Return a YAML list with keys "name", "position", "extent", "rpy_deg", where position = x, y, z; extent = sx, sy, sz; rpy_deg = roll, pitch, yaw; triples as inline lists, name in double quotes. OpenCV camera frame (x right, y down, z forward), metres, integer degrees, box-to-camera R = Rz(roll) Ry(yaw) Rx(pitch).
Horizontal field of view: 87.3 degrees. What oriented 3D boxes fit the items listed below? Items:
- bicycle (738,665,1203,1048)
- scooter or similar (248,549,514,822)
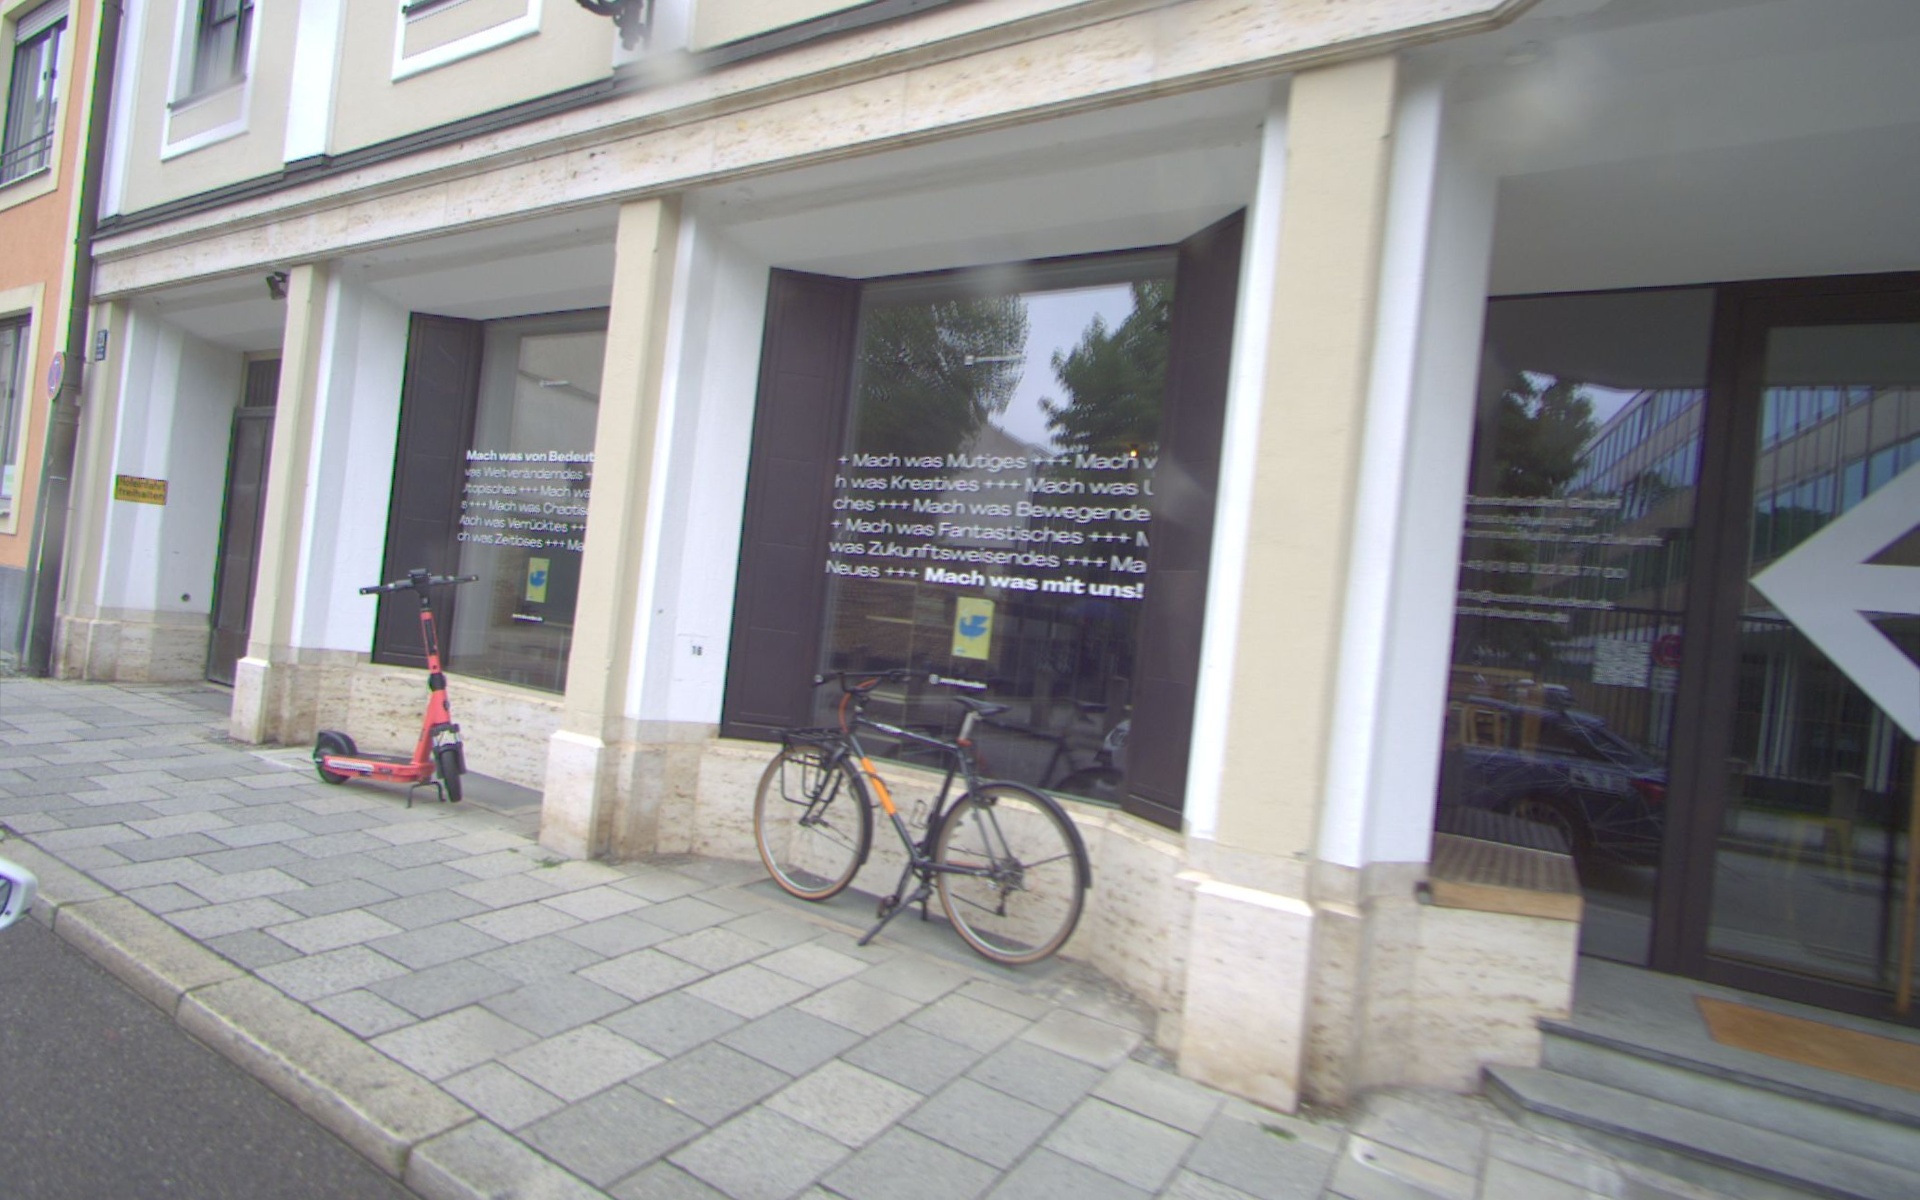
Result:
- name: "bicycle"
  position: [-0.077, 0.917, 4.199]
  extent: [2.050, 1.006, 0.463]
  rpy_deg: [7, 1, 42]
- name: "scooter or similar"
  position: [-3.180, 0.434, 5.529]
  extent: [1.253, 1.275, 0.466]
  rpy_deg: [7, 2, 18]
